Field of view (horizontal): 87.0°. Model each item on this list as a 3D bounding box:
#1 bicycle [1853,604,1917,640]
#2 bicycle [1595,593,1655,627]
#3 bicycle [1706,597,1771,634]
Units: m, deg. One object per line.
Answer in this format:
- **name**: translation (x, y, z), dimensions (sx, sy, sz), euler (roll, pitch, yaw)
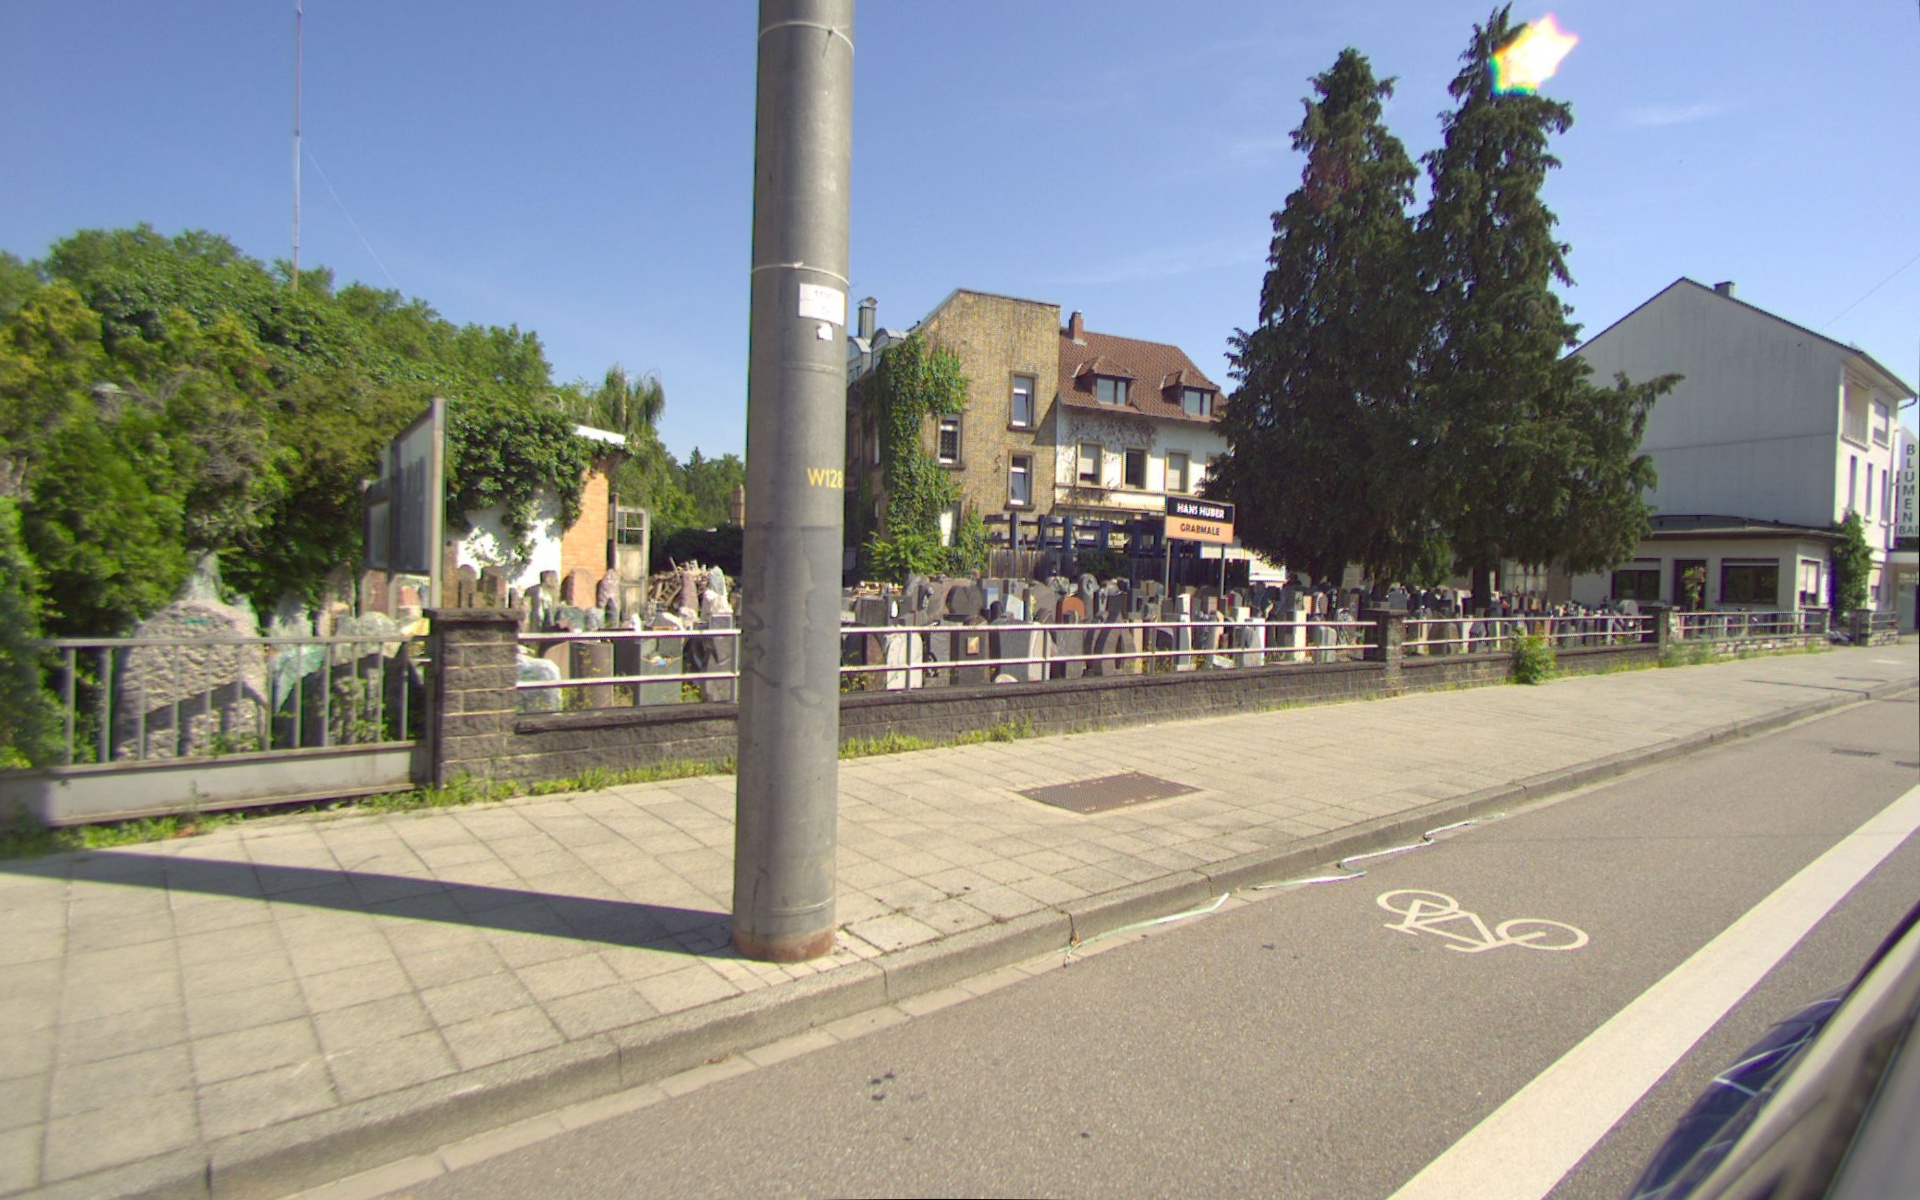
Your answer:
- **bicycle**: translation (32.264, 0.756, 35.307), dimensions (0.390, 1.069, 1.532), euler (1, 4, -36)
- **bicycle**: translation (23.730, 0.350, 36.140), dimensions (0.502, 1.124, 1.691), euler (2, 2, -36)
- **bicycle**: translation (25.466, 0.496, 33.122), dimensions (0.503, 1.124, 1.694), euler (2, 2, -13)
